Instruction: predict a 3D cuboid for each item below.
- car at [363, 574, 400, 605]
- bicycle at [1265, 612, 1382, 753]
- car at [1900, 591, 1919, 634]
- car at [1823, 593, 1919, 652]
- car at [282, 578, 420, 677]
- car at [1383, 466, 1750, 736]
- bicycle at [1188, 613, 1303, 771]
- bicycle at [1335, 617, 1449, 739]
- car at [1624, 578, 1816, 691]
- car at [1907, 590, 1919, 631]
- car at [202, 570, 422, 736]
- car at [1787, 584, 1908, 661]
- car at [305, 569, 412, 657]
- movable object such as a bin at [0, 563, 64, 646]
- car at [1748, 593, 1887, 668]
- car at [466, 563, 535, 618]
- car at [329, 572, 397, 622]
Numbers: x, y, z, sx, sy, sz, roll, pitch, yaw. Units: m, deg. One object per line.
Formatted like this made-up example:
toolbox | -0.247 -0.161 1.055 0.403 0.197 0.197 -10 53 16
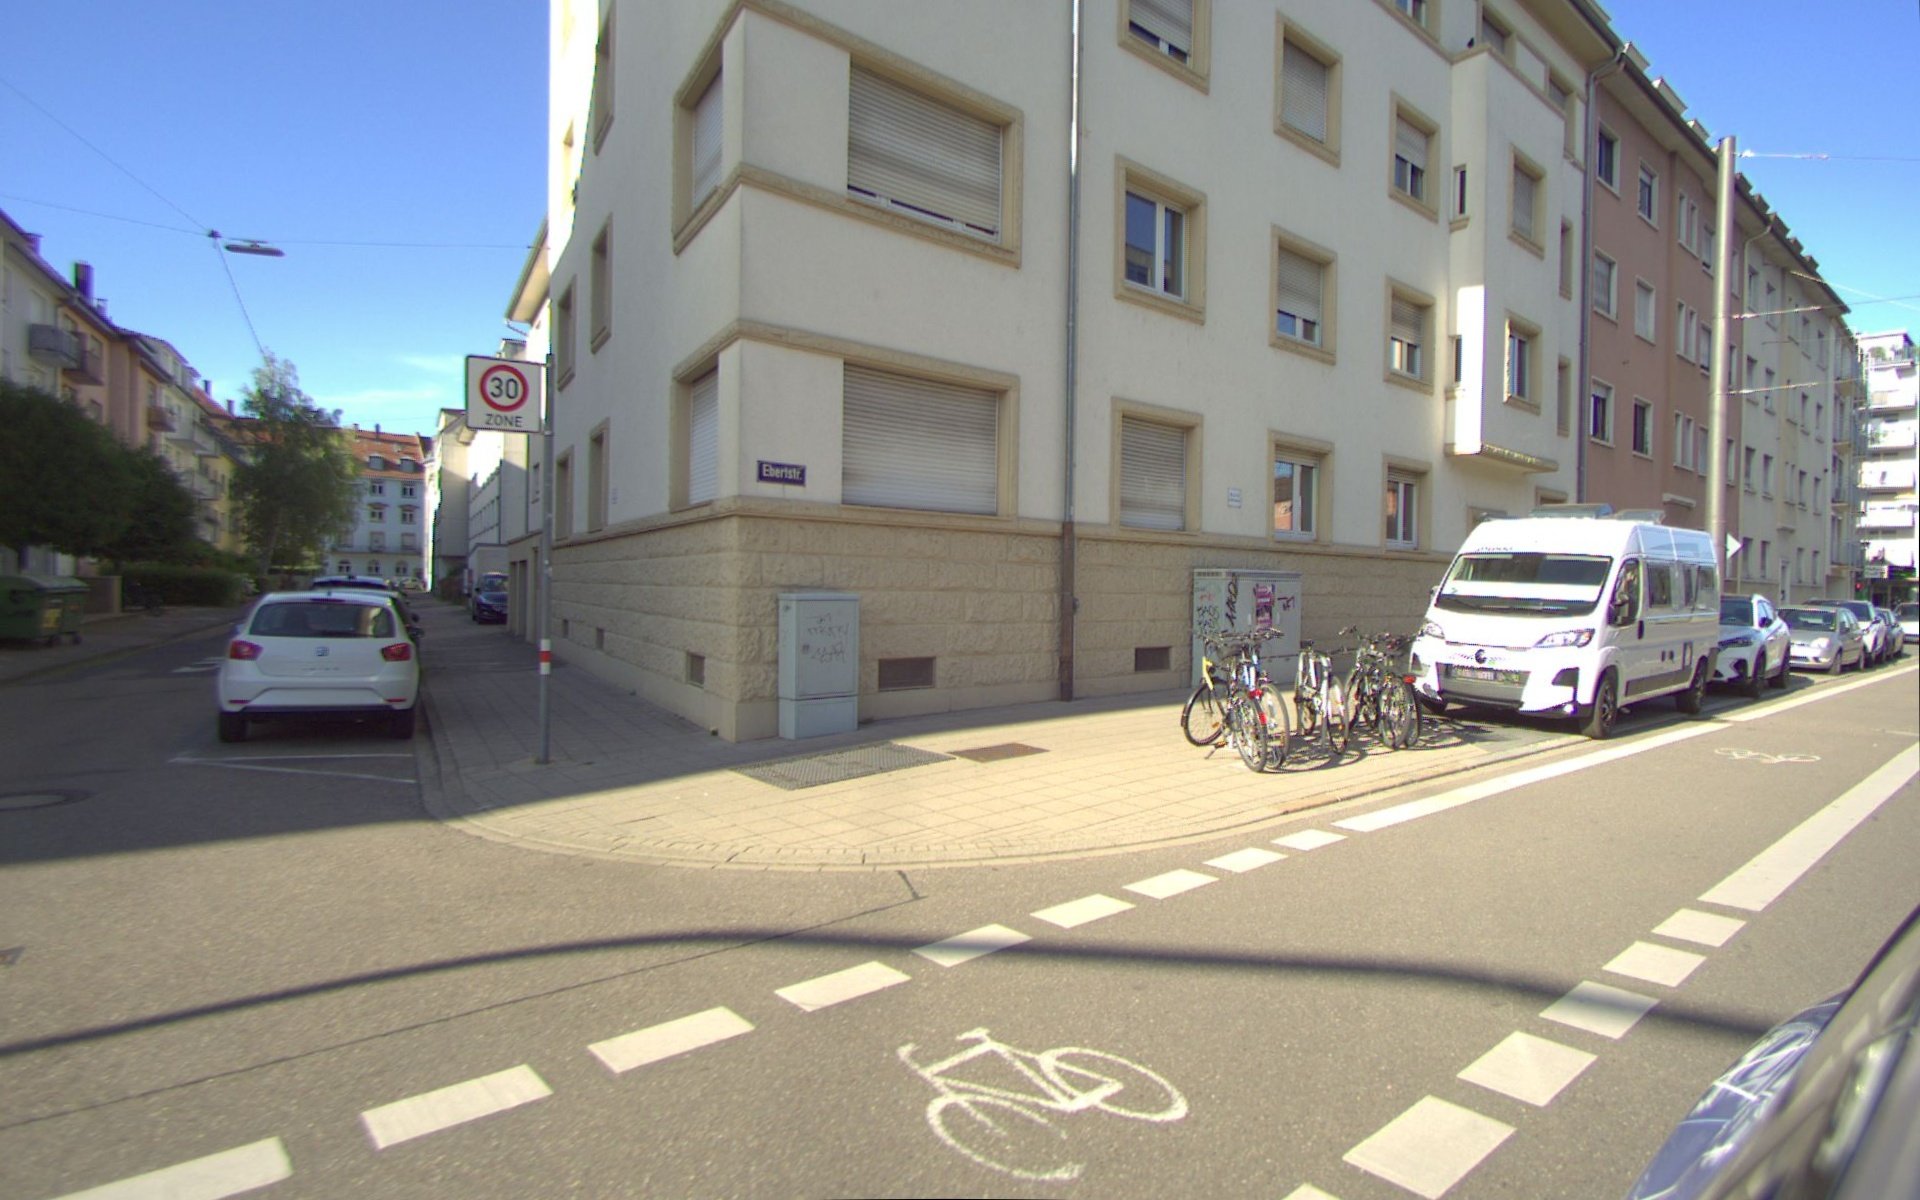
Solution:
car | -30.801 -0.542 53.938 1.651 1.540 3.860 0 -1 -30
bicycle | 3.414 0.722 9.657 0.465 1.100 1.917 -2 2 2
car | 36.360 0.494 37.685 2.605 1.571 1.761 0 2 -43
car | 26.921 0.631 29.812 4.083 1.497 1.748 0 4 -43
car | -9.601 0.423 16.094 1.678 1.355 3.976 0 -1 -30
car | 8.063 -0.036 13.093 6.181 2.729 2.155 0 3 -41
bicycle | 2.435 0.728 8.843 0.465 1.100 1.917 4 2 2
bicycle | 4.288 0.729 10.180 0.478 1.101 2.024 -1 -1 7
car | 13.245 0.521 17.538 4.497 1.657 1.850 0 2 -43
car | 39.380 0.461 40.493 4.104 1.571 1.821 0 3 -43
car | -6.779 0.503 10.840 1.678 1.442 3.744 0 -1 -30
car | 22.974 0.538 26.142 4.414 1.718 1.804 1 4 -43
car | -12.042 0.278 20.375 1.678 1.567 4.135 0 -1 -30
movable object such as a bin | -18.538 0.097 19.920 1.169 1.579 1.062 0 -2 -32
car | 19.429 0.648 22.885 3.981 1.478 1.626 1 3 -39
car | -15.803 -0.271 34.697 1.777 1.738 3.999 0 -1 -30
car | -19.127 -0.057 32.502 1.765 1.481 3.999 0 -1 -30
